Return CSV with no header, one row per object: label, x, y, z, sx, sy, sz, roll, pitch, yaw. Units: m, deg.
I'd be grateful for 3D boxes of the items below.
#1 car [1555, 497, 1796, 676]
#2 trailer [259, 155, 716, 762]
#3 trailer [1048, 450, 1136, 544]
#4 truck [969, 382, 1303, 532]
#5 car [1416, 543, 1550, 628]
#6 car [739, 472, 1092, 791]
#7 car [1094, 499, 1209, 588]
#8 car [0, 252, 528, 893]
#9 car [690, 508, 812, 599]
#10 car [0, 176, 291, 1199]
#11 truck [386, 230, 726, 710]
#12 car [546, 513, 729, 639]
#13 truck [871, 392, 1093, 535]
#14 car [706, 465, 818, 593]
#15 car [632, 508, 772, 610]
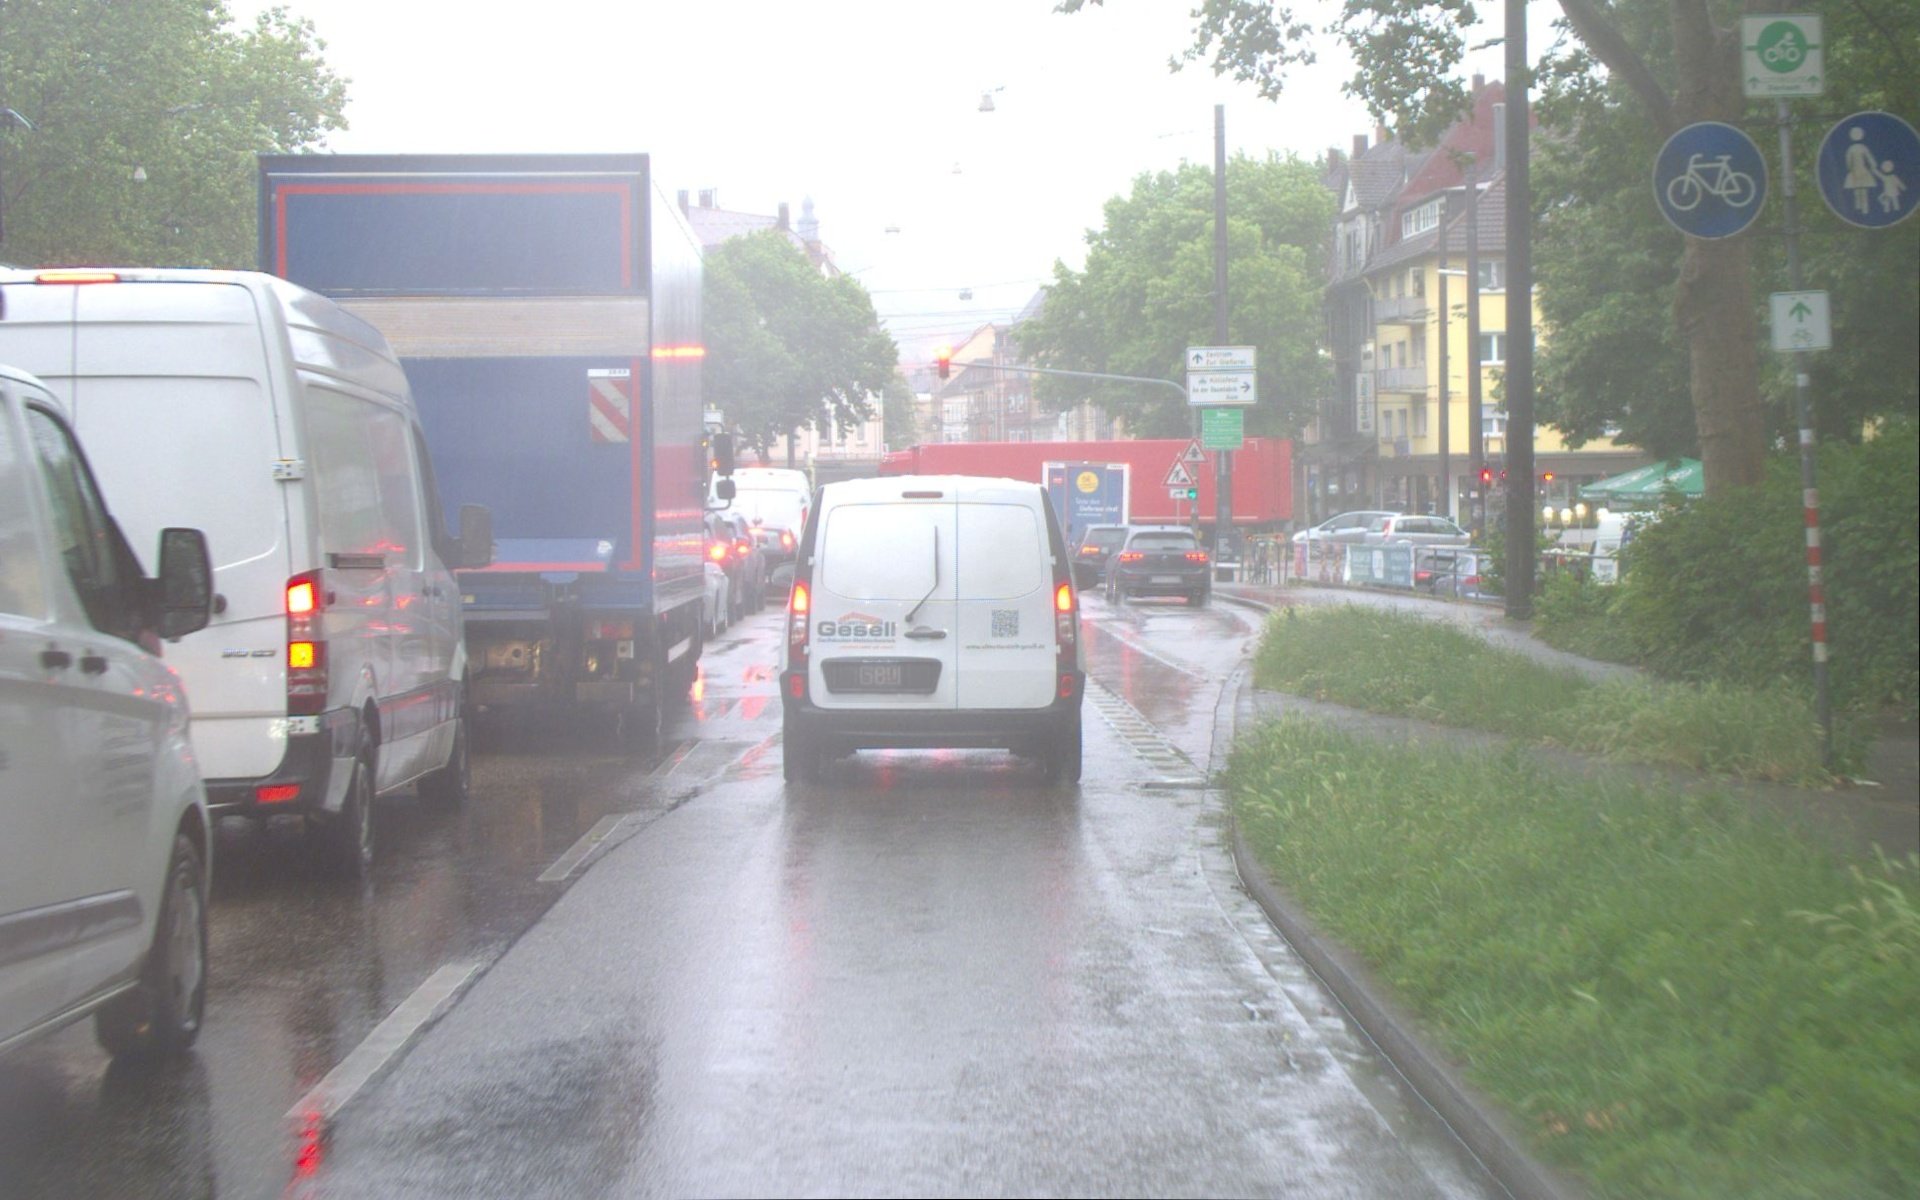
car,11.055,-0.289,53.590,2.179,2.523,5.779,-2,2,-3
trailer,-3.295,-1.001,25.874,2.590,3.886,7.637,0,1,-2
trailer,3.428,-2.616,88.535,1.994,2.309,4.667,0,0,6
truck,6.109,-4.987,120.899,11.382,4.882,3.284,-1,2,31
car,10.317,-0.312,68.074,1.822,1.485,4.353,-2,2,-2
car,-0.267,0.159,20.862,1.959,1.771,3.570,0,0,-1
car,3.492,-1.039,62.455,1.994,1.536,4.000,-1,1,4
car,-3.639,-0.132,16.728,2.329,2.548,6.114,0,0,0
car,-3.795,-0.862,63.030,1.993,1.573,4.292,1,1,-1
car,-3.101,0.195,8.236,1.993,2.254,5.289,0,0,0
truck,-3.420,-1.109,29.963,2.580,3.890,4.001,0,1,-1
car,-4.114,-0.345,44.494,1.993,1.467,4.267,1,2,-1
truck,0.779,-4.926,124.142,7.169,4.882,3.284,-1,2,31
car,-3.908,-1.413,68.541,1.993,2.433,4.612,1,1,-1
car,-4.187,-0.682,56.299,1.993,1.573,4.292,1,1,-1
